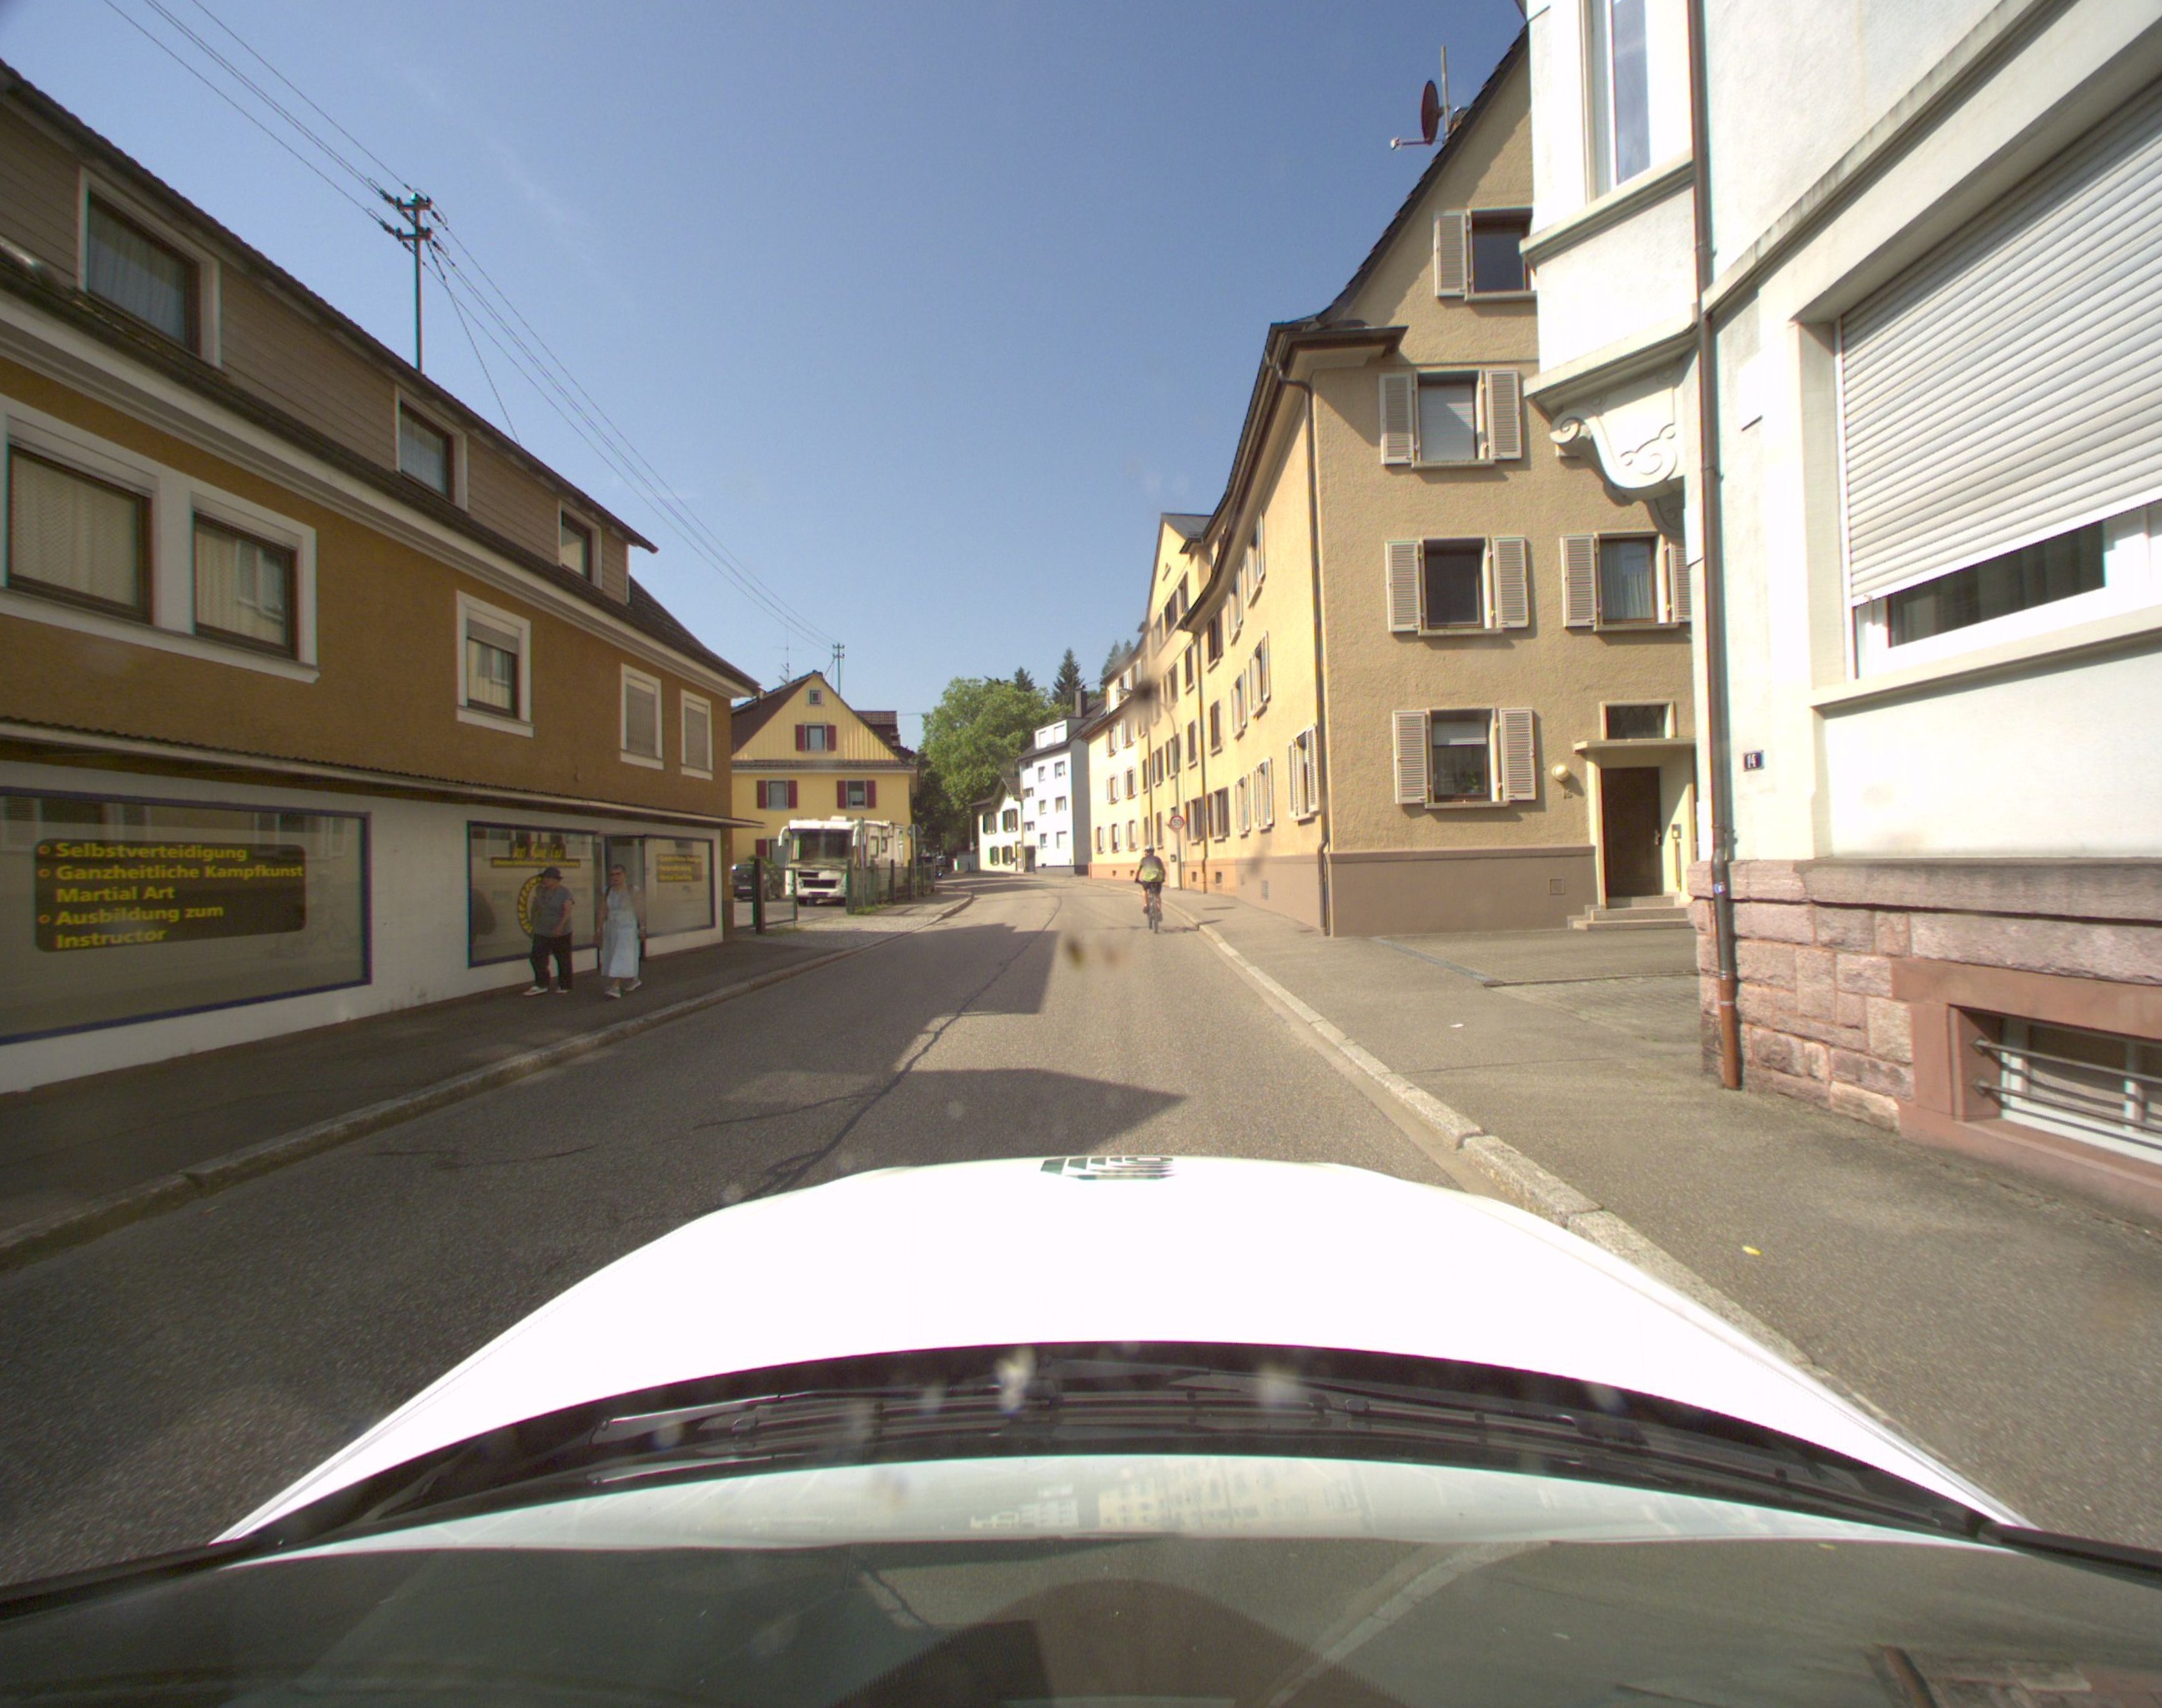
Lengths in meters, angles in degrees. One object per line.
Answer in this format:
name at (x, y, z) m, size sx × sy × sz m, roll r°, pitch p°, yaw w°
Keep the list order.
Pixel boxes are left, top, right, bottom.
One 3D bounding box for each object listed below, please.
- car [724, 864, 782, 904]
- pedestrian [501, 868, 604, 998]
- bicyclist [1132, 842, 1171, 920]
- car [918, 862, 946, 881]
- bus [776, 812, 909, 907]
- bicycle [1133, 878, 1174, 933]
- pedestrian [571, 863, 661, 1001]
car at (-12.858, 1.139, 32.123) m, size 1.770 × 1.432 × 3.976 m, roll 0°, pitch -1°, yaw -17°
pedestrian at (-6.629, 0.962, 10.263) m, size 0.732 × 1.564 × 0.825 m, roll 0°, pitch 0°, yaw 2°
bicyclist at (1.441, 0.547, 16.754) m, size 0.683 × 1.531 × 0.715 m, roll -3°, pitch -1°, yaw -1°
car at (-13.142, 1.510, 71.615) m, size 1.753 × 1.453 × 4.000 m, roll -6°, pitch 1°, yaw -19°
bus at (-9.036, 0.201, 32.132) m, size 2.812 × 3.228 × 9.029 m, roll 0°, pitch 0°, yaw -2°
bicycle at (1.480, 1.043, 16.826) m, size 0.696 × 1.035 × 1.471 m, roll -1°, pitch 0°, yaw 0°
pedestrian at (-5.710, 0.923, 10.033) m, size 0.637 × 1.626 × 0.777 m, roll 0°, pitch 0°, yaw 2°
